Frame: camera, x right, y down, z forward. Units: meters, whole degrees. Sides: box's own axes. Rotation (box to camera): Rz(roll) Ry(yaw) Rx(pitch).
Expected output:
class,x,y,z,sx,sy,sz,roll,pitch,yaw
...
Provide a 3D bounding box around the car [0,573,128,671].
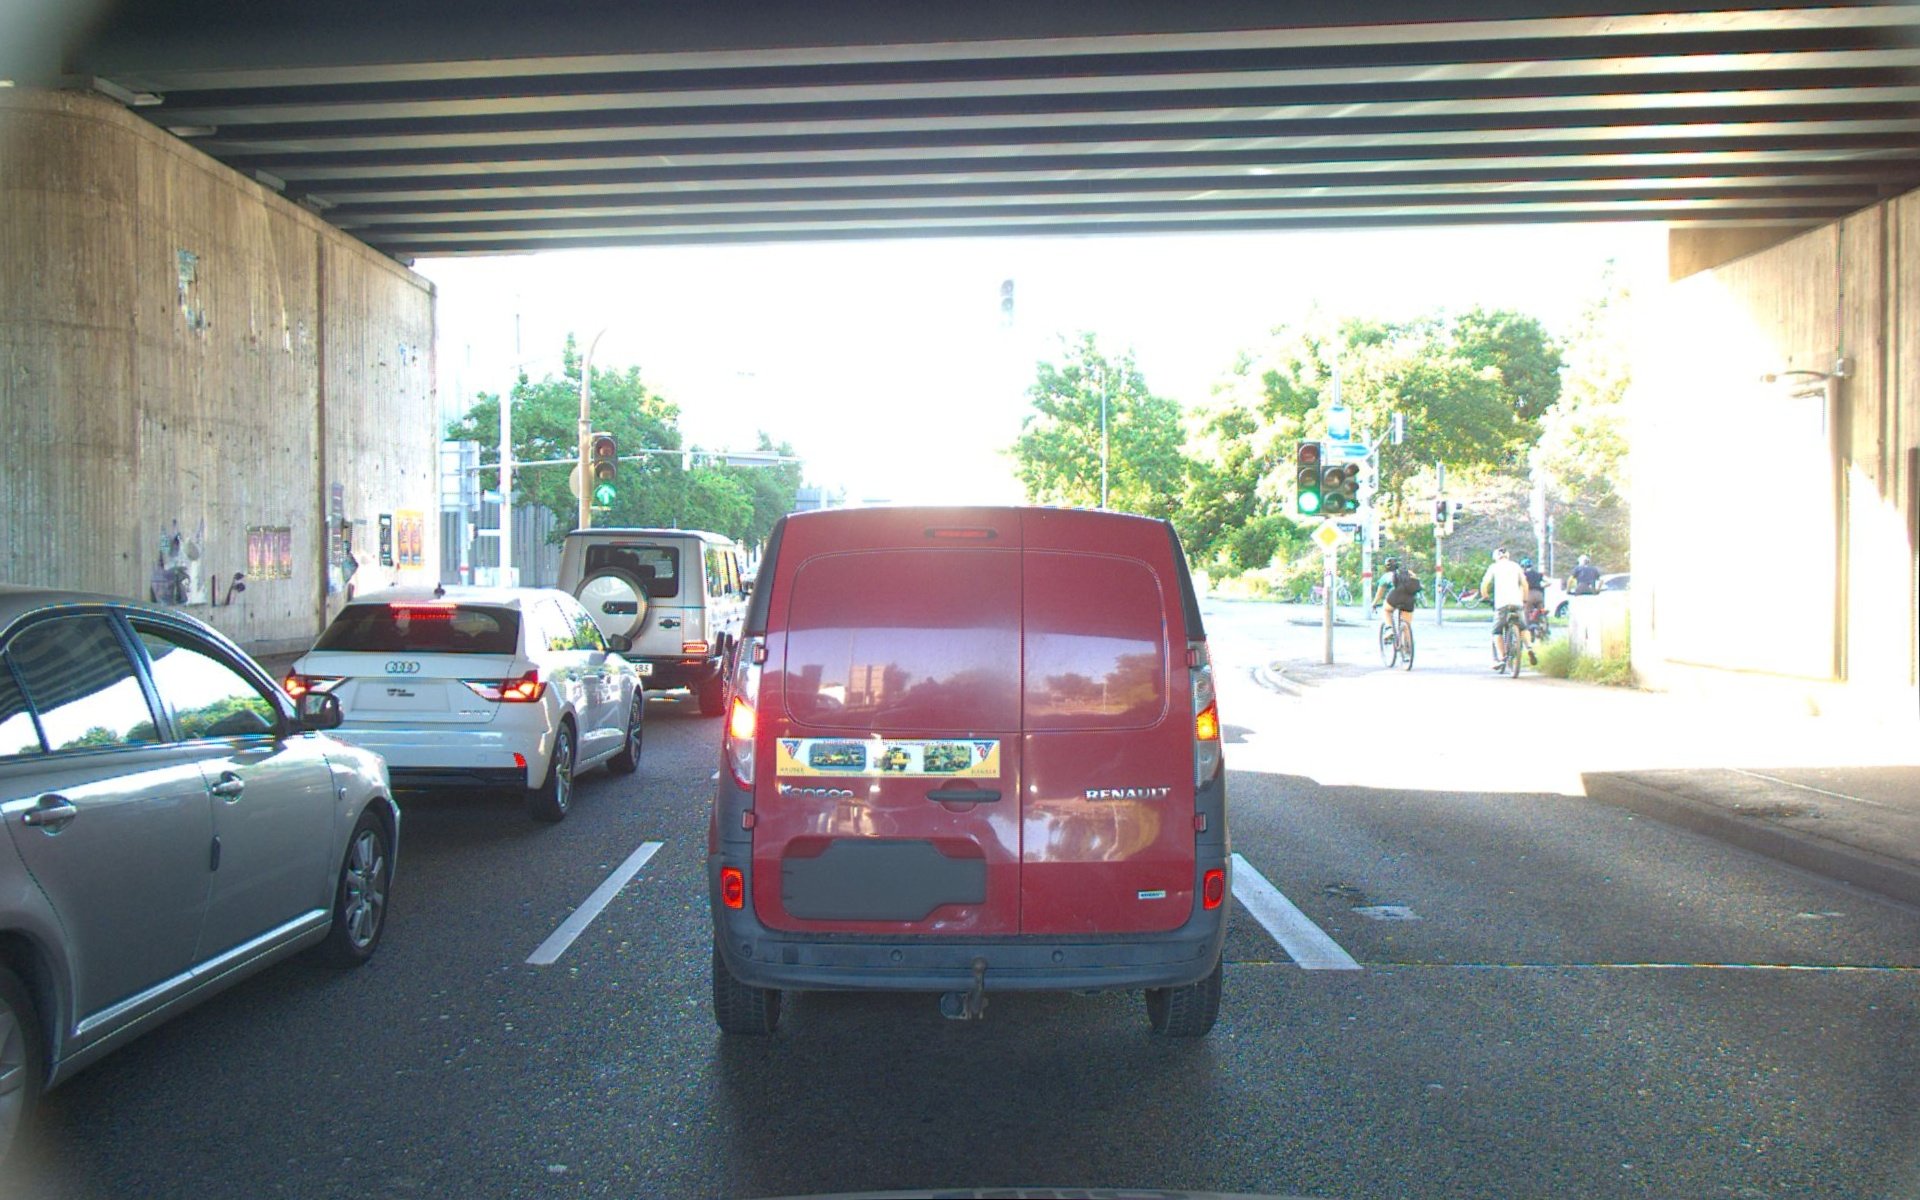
class,x,y,z,sx,sy,sz,roll,pitch,yaw
car,-15.813,0.334,27.365,1.584,1.546,3.829,0,1,12

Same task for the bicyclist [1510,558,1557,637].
class,x,y,z,sx,sy,sz,roll,pitch,yaw
bicyclist,11.040,-0.045,31.844,0.651,1.500,0.751,1,-1,3

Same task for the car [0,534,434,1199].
class,x,y,z,sx,sy,sz,roll,pitch,yaw
car,-3.011,0.602,4.849,1.698,1.506,4.317,0,0,-2

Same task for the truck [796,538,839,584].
class,x,y,z,sx,sy,sz,roll,pitch,yaw
truck,-10.134,-2.781,118.191,2.360,3.079,6.657,-2,1,0

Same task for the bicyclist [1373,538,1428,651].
class,x,y,z,sx,sy,sz,roll,pitch,yaw
bicyclist,6.519,-0.079,24.507,0.579,1.642,0.942,1,0,2

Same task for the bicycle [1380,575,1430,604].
class,x,y,z,sx,sy,sz,roll,pitch,yaw
bicycle,16.464,-0.388,61.246,1.707,1.041,0.594,1,0,8

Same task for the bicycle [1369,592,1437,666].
class,x,y,z,sx,sy,sz,roll,pitch,yaw
bicycle,6.523,0.417,24.418,0.579,1.041,1.751,1,0,2

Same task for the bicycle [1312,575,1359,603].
class,x,y,z,sx,sy,sz,roll,pitch,yaw
bicycle,14.204,-0.421,62.599,1.707,1.041,0.594,1,0,8

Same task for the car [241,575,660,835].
class,x,y,z,sx,sy,sz,roll,pitch,yaw
car,-3.256,0.576,11.347,1.777,1.463,3.730,1,1,-1

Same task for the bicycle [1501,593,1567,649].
class,x,y,z,sx,sy,sz,roll,pitch,yaw
bicycle,11.035,0.396,31.873,0.657,1.041,2.056,1,0,3

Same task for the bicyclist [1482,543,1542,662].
class,x,y,z,sx,sy,sz,roll,pitch,yaw
bicyclist,7.490,0.039,22.475,0.579,1.575,0.769,1,-1,3

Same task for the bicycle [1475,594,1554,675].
class,x,y,z,sx,sy,sz,roll,pitch,yaw
bicycle,7.511,0.454,22.470,0.579,1.041,1.751,1,0,3

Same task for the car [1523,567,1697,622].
class,x,y,z,sx,sy,sz,roll,pitch,yaw
car,19.130,-0.155,48.818,4.451,1.540,1.829,1,0,6

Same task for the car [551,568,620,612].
class,x,y,z,sx,sy,sz,roll,pitch,yaw
car,-16.117,-0.444,71.382,1.787,1.768,4.630,-2,1,1

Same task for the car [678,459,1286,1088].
class,x,y,z,sx,sy,sz,roll,pitch,yaw
car,0.042,0.522,6.878,1.768,1.826,3.999,1,0,-1

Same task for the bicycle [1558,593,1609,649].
class,x,y,z,sx,sy,sz,roll,pitch,yaw
bicycle,12.604,0.408,33.475,0.653,1.041,1.752,0,3,11

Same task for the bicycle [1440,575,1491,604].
class,x,y,z,sx,sy,sz,roll,pitch,yaw
bicycle,18.373,-0.387,60.125,1.707,1.041,0.594,1,0,10

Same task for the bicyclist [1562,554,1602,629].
class,x,y,z,sx,sy,sz,roll,pitch,yaw
bicyclist,12.586,-0.178,33.473,0.635,1.506,0.619,1,1,11

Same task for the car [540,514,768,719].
class,x,y,z,sx,sy,sz,roll,pitch,yaw
car,-3.328,0.177,18.853,1.764,2.023,4.588,1,0,-1
